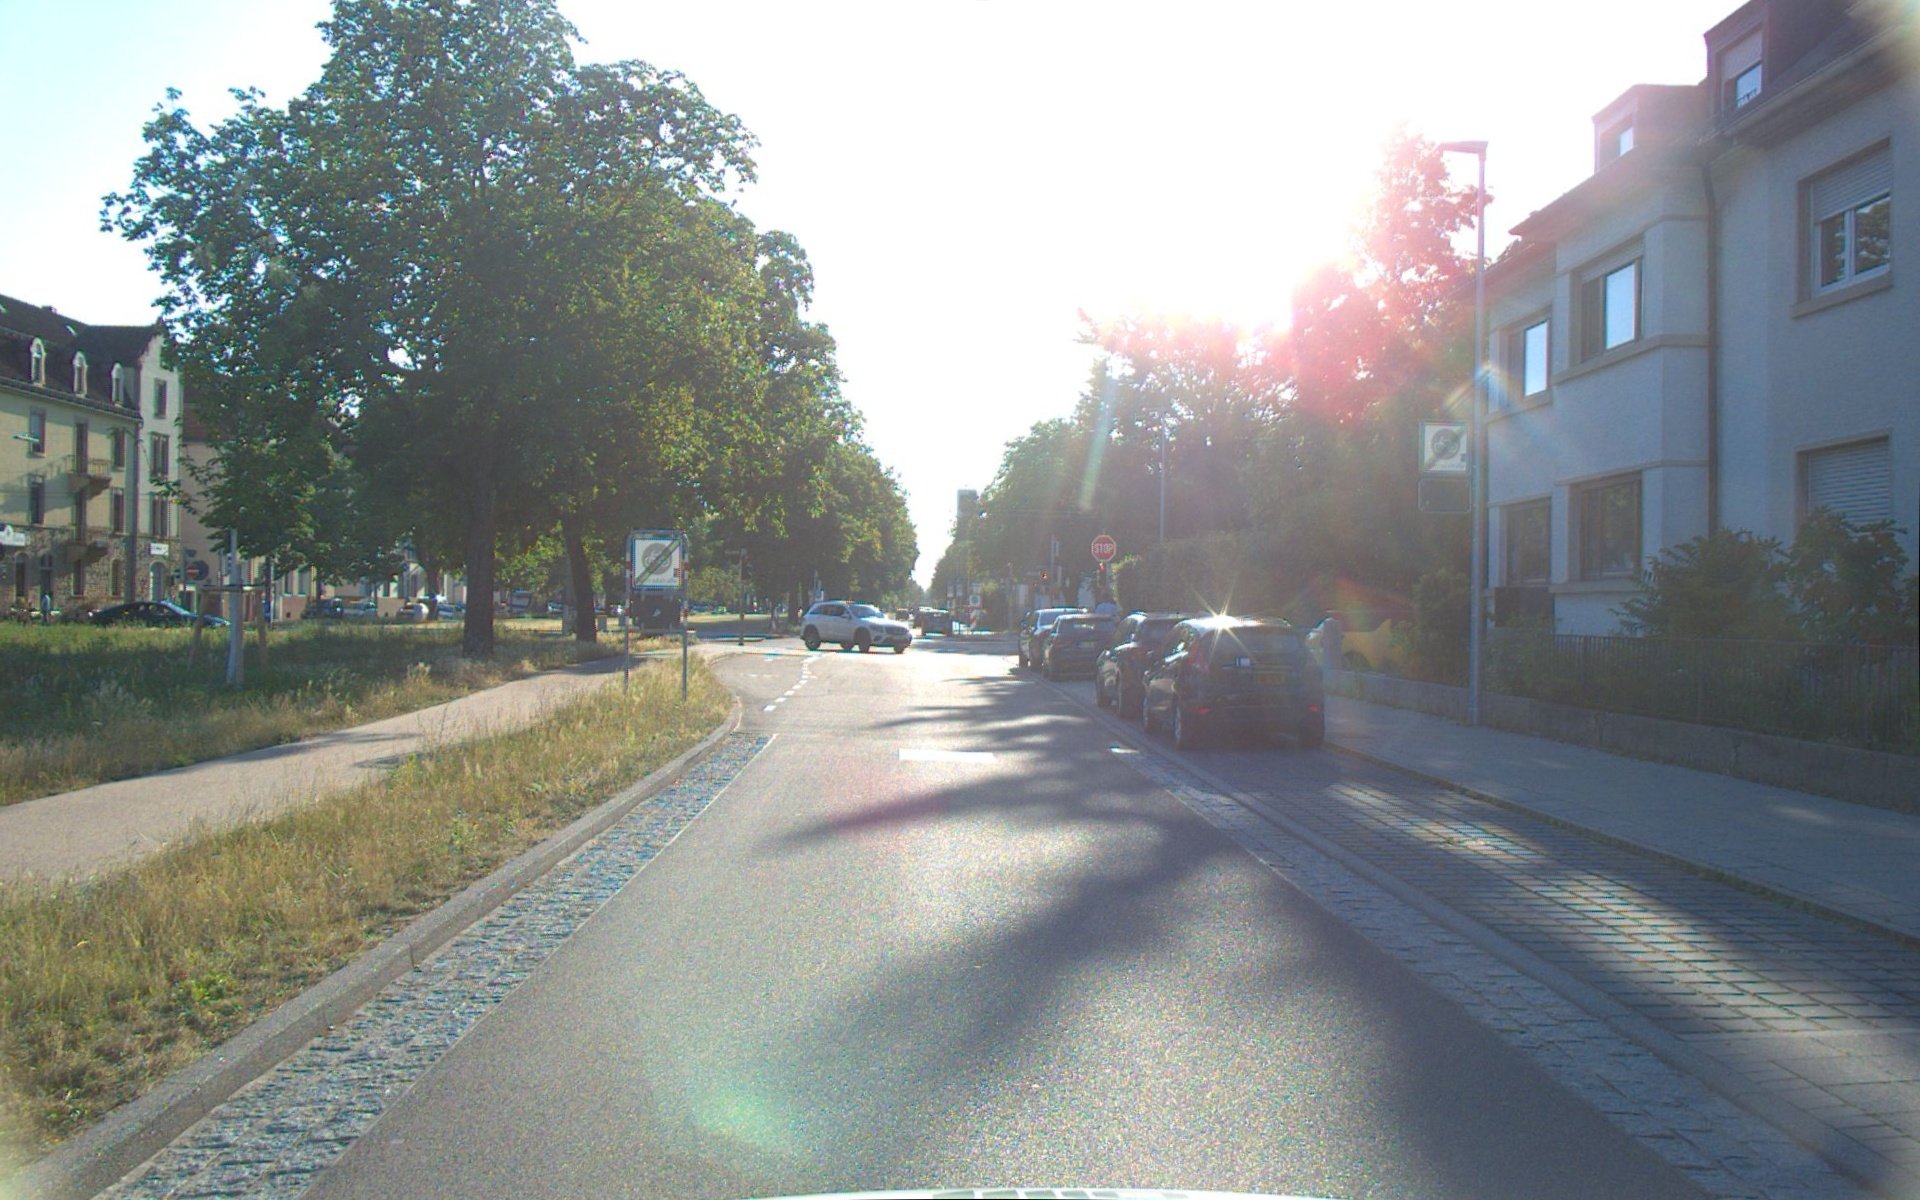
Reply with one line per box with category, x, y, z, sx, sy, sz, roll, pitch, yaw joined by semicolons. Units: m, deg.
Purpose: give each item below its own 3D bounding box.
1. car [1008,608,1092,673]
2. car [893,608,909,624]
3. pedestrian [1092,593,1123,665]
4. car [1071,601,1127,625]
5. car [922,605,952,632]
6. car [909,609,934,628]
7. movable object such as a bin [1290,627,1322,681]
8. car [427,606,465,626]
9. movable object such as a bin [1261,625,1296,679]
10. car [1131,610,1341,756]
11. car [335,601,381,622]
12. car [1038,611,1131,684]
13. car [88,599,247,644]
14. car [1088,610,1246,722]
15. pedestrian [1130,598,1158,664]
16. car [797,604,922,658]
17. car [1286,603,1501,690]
car;2.273;0.994;42.928;1.821;1.569;4.872;1;0;-1
car;-8.079;2.195;226.789;2.090;2.049;3.901;1;0;-1
pedestrian;3.955;0.765;44.315;0.657;1.898;0.881;1;-1;-4
car;9.640;0.900;114.748;3.703;1.552;1.743;1;1;-2
car;-1.277;1.024;93.281;1.607;1.476;3.307;1;0;1
car;-2.949;1.403;127.291;1.808;1.418;3.828;1;0;-1
movable object such as a bin;6.960;1.077;33.288;0.498;1.061;0.416;1;0;-7
car;-38.898;1.200;125.156;1.702;1.452;3.791;1;0;-1
movable object such as a bin;6.413;1.046;33.284;0.498;1.061;0.658;1;0;-7
car;3.184;0.906;19.846;1.684;1.497;3.982;-2;0;-2
car;-44.273;0.837;121.671;1.701;1.452;3.794;1;0;5
car;2.686;1.003;36.415;1.608;1.452;3.935;-1;0;-2
car;-27.929;0.764;58.398;4.677;1.459;1.810;1;-1;-10
car;3.038;0.927;25.069;1.711;1.500;4.253;1;0;-2
pedestrian;4.925;0.823;44.285;0.655;1.738;0.622;1;-1;-1
car;-3.524;1.054;57.464;4.350;1.706;1.884;2;0;44
car;8.110;0.856;31.156;3.560;1.522;1.780;-1;0;-2
